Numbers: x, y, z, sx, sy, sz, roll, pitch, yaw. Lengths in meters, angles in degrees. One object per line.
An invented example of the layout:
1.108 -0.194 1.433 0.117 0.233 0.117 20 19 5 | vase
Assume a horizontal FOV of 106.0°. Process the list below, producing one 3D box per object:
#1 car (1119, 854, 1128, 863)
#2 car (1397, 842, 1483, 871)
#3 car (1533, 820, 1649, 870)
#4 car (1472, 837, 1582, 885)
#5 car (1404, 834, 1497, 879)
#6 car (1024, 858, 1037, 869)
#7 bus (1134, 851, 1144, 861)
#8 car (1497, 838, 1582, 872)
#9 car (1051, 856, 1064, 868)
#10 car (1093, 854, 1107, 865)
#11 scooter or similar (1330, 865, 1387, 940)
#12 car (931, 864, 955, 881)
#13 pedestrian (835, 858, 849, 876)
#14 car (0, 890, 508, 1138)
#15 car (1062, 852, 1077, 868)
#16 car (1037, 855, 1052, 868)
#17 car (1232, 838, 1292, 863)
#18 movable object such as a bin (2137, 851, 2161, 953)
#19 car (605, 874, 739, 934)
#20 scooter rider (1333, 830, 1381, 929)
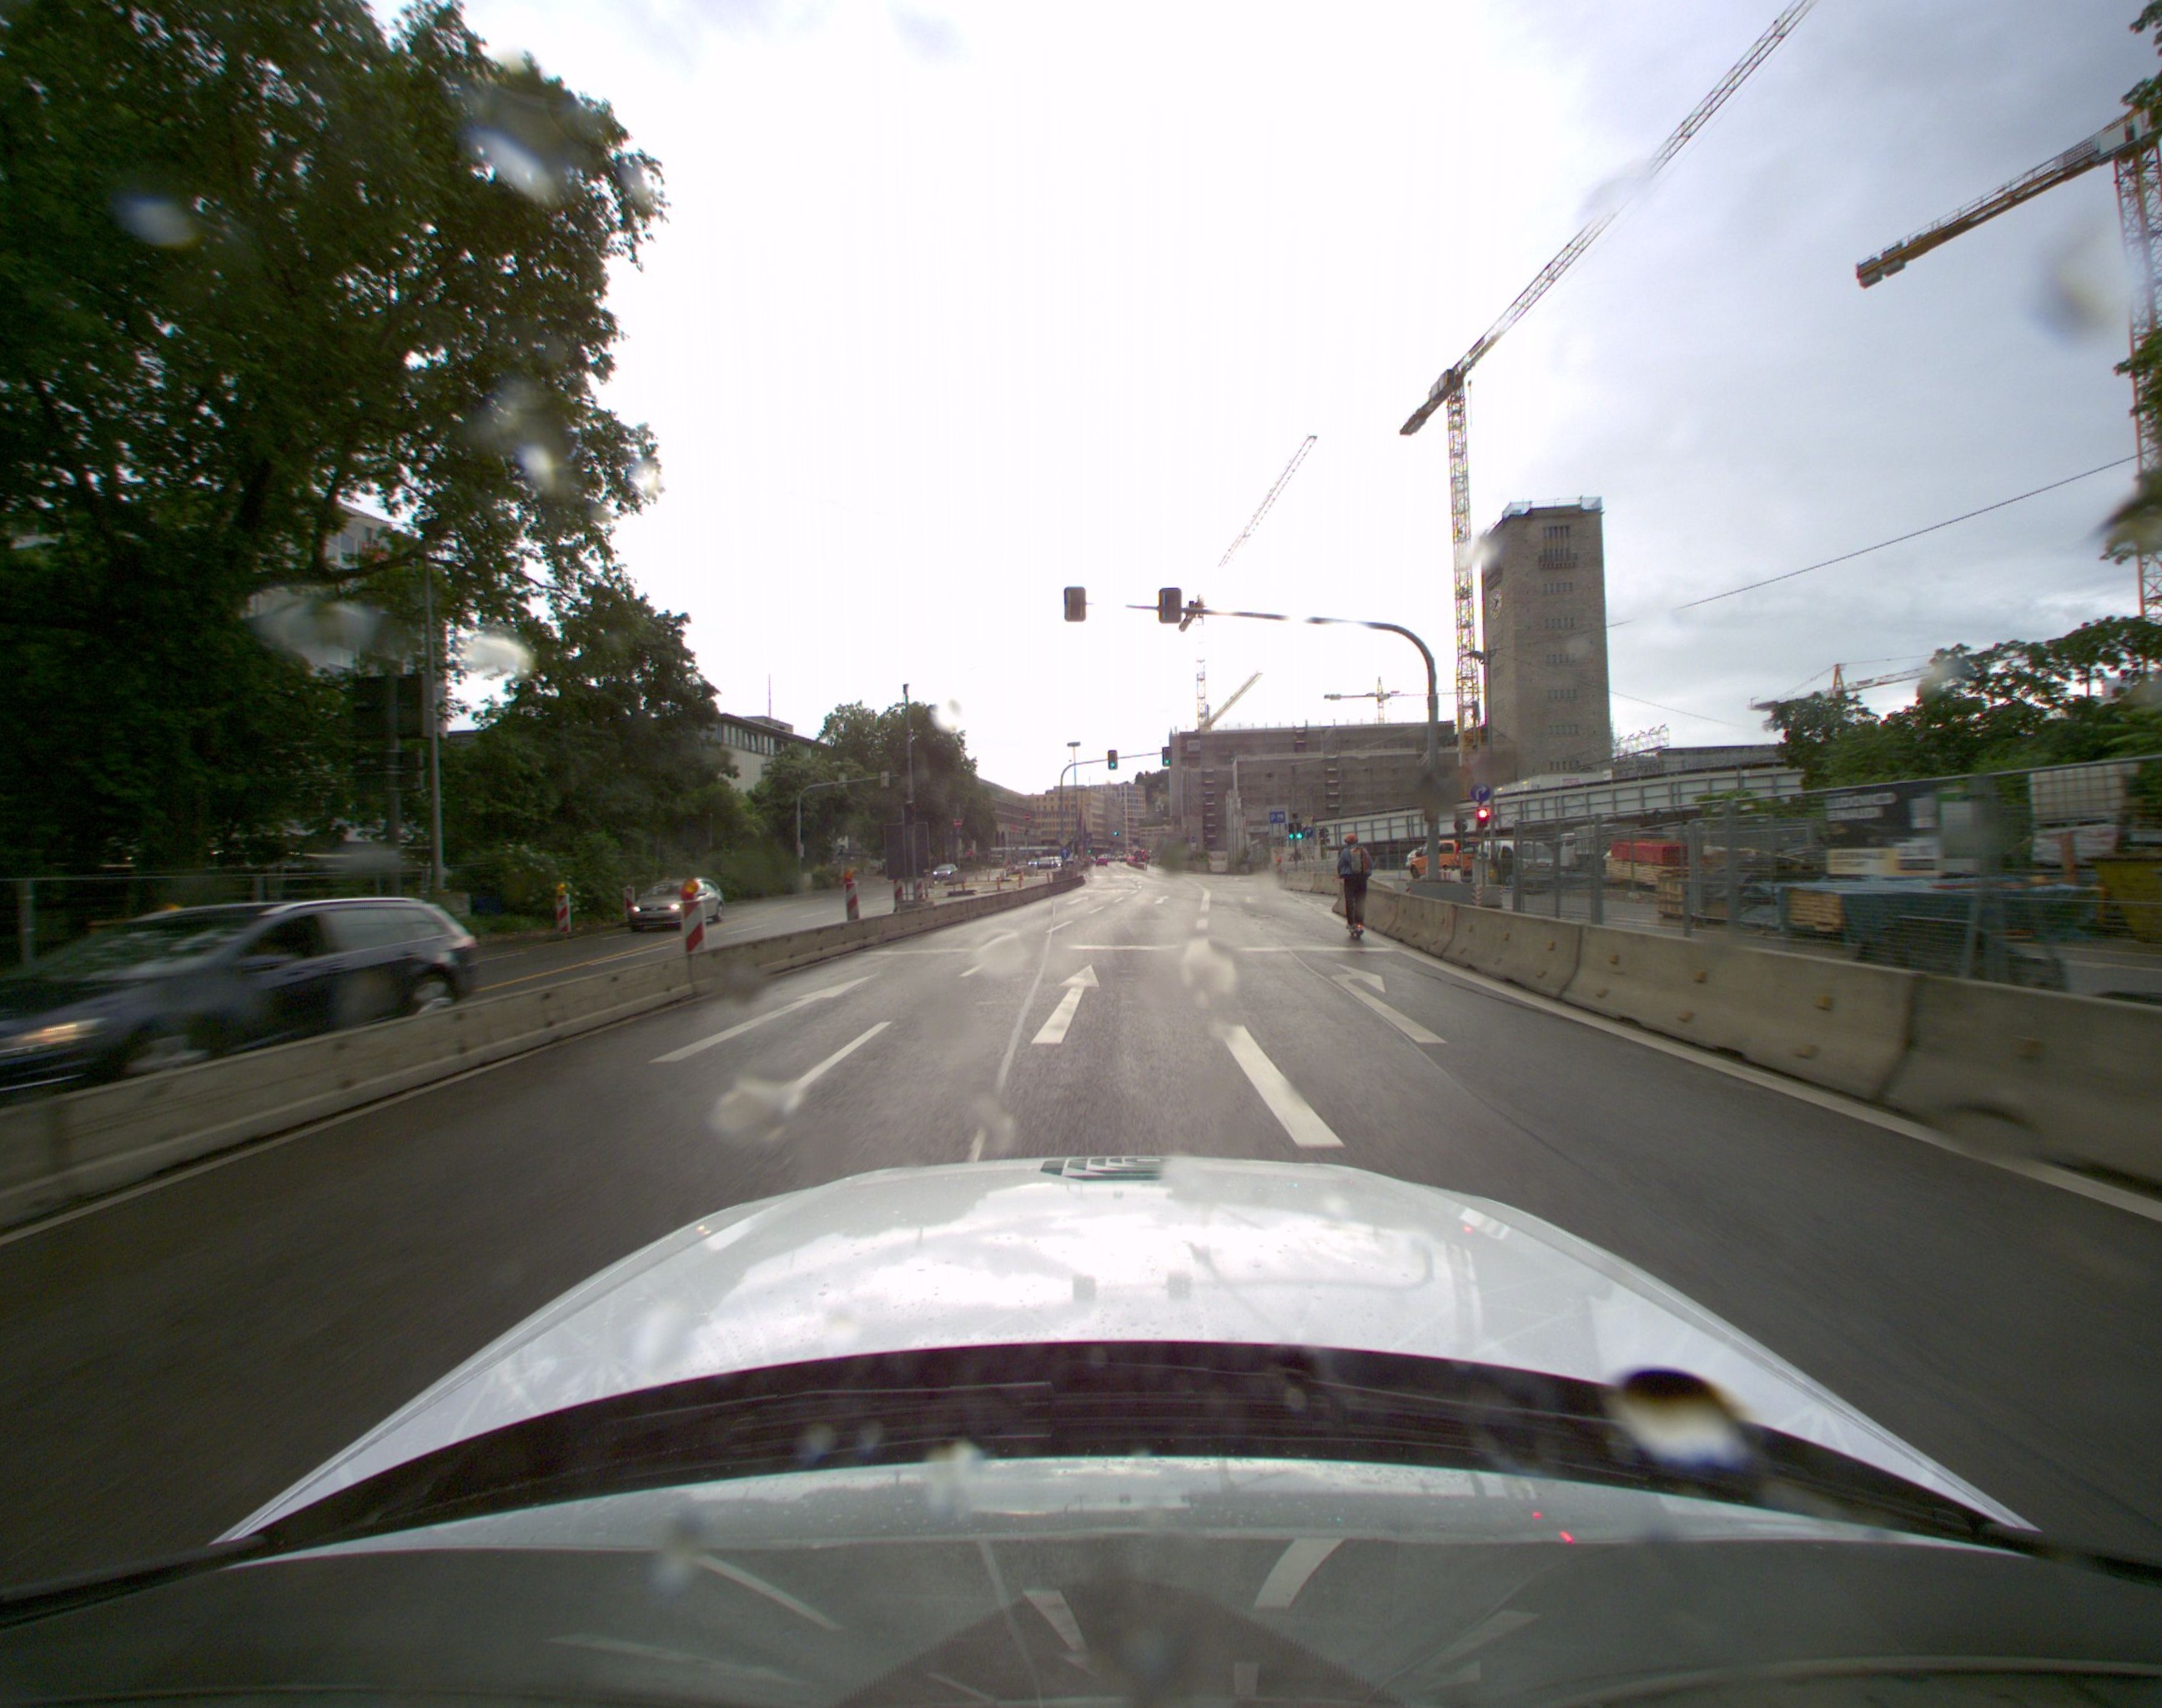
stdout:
10.412 1.154 200.479 1.985 2.014 4.002 -3 -3 3 | car
20.920 0.136 47.525 4.193 1.452 1.813 -3 0 -3 | car
26.436 -0.394 42.511 2.041 2.313 5.594 -3 -1 -5 | car
18.283 0.239 33.698 1.839 1.806 5.088 -1 1 1 | car
17.846 0.134 39.659 1.908 1.975 5.156 -1 0 -4 | car
-8.289 1.537 133.850 1.896 1.528 4.175 -3 -3 -1 | car
14.668 0.543 206.076 1.983 2.432 4.007 -4 -3 7 | bus
23.788 0.056 42.439 1.936 1.619 3.928 -3 0 -5 | car
-3.745 1.280 128.447 1.896 1.528 4.175 -3 -3 -1 | car
2.938 0.895 127.378 1.896 1.528 4.175 -3 -3 -1 | car
5.180 0.870 15.300 0.594 1.319 1.669 -1 -1 4 | scooter or similar
-12.851 1.691 76.166 1.762 1.463 4.170 -4 0 -5 | car
-21.731 1.171 74.015 0.582 1.557 1.119 -4 -3 18 | pedestrian
-7.740 1.167 7.376 1.989 1.541 4.574 -3 -3 -3 | car
-1.585 0.855 113.768 1.896 2.083 4.175 -3 -3 -1 | car
-5.011 1.064 113.173 1.896 1.528 4.175 -3 -3 -1 | car
16.336 -0.332 73.793 2.367 2.132 4.820 -1 0 -41 | car
14.812 0.642 10.372 1.166 1.344 1.272 -1 1 21 | movable object such as a bin
-12.403 1.506 25.038 1.989 1.541 4.439 -3 -3 -3 | car
5.166 0.459 15.287 0.594 1.786 0.998 -1 -1 4 | scooter rider
